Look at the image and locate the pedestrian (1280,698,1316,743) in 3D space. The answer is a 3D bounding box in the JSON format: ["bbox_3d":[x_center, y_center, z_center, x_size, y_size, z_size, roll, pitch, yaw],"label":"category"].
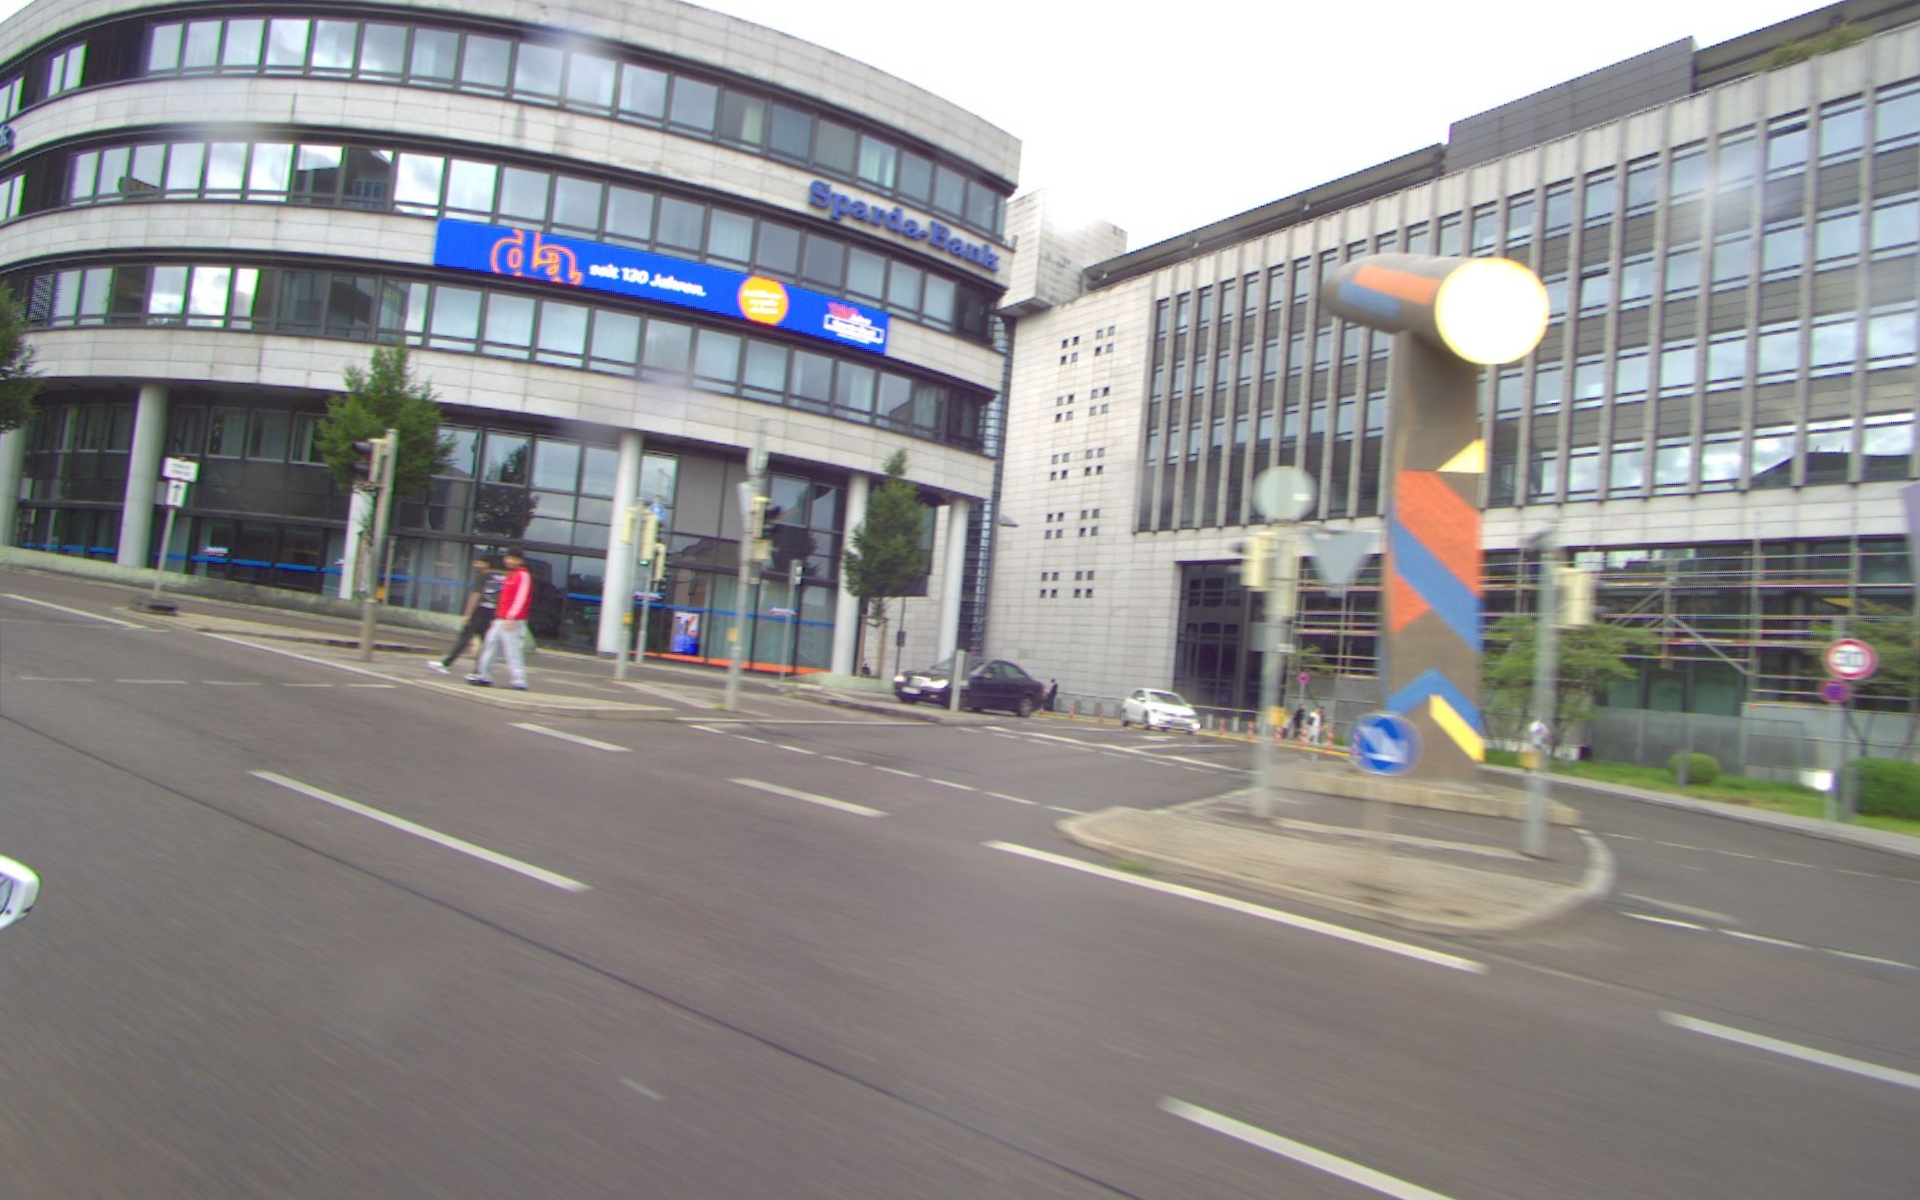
[{"bbox_3d":[14.651,5.212,43.650,0.936,1.766,0.896,9,-2,-33],"label":"pedestrian"}]

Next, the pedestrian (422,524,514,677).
[{"bbox_3d":[-6.638,0.020,13.568,0.835,1.926,0.726,7,-2,-34],"label":"pedestrian"}]

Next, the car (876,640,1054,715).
[{"bbox_3d":[0.235,2.017,25.656,1.842,1.457,4.696,3,-5,41],"label":"car"}]

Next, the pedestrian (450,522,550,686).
[{"bbox_3d":[-5.822,0.064,12.721,0.835,1.926,0.854,7,-3,-33],"label":"pedestrian"}]

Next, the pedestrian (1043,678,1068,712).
[{"bbox_3d":[5.346,5.355,56.528,1.064,1.741,0.656,8,-1,-8],"label":"pedestrian"}]

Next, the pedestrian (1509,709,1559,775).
[{"bbox_3d":[17.135,4.228,30.042,0.957,1.838,0.778,7,-3,-19],"label":"pedestrian"}]

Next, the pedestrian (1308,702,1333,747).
[{"bbox_3d":[15.030,5.177,41.931,0.557,1.766,0.548,9,-2,-33],"label":"pedestrian"}]

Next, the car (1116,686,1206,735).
[{"bbox_3d":[6.916,3.798,35.078,1.834,1.457,4.005,5,-5,-6],"label":"car"}]

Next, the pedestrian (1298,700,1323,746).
[{"bbox_3d":[14.485,5.081,41.622,0.557,1.766,0.548,9,-2,-33],"label":"pedestrian"}]
